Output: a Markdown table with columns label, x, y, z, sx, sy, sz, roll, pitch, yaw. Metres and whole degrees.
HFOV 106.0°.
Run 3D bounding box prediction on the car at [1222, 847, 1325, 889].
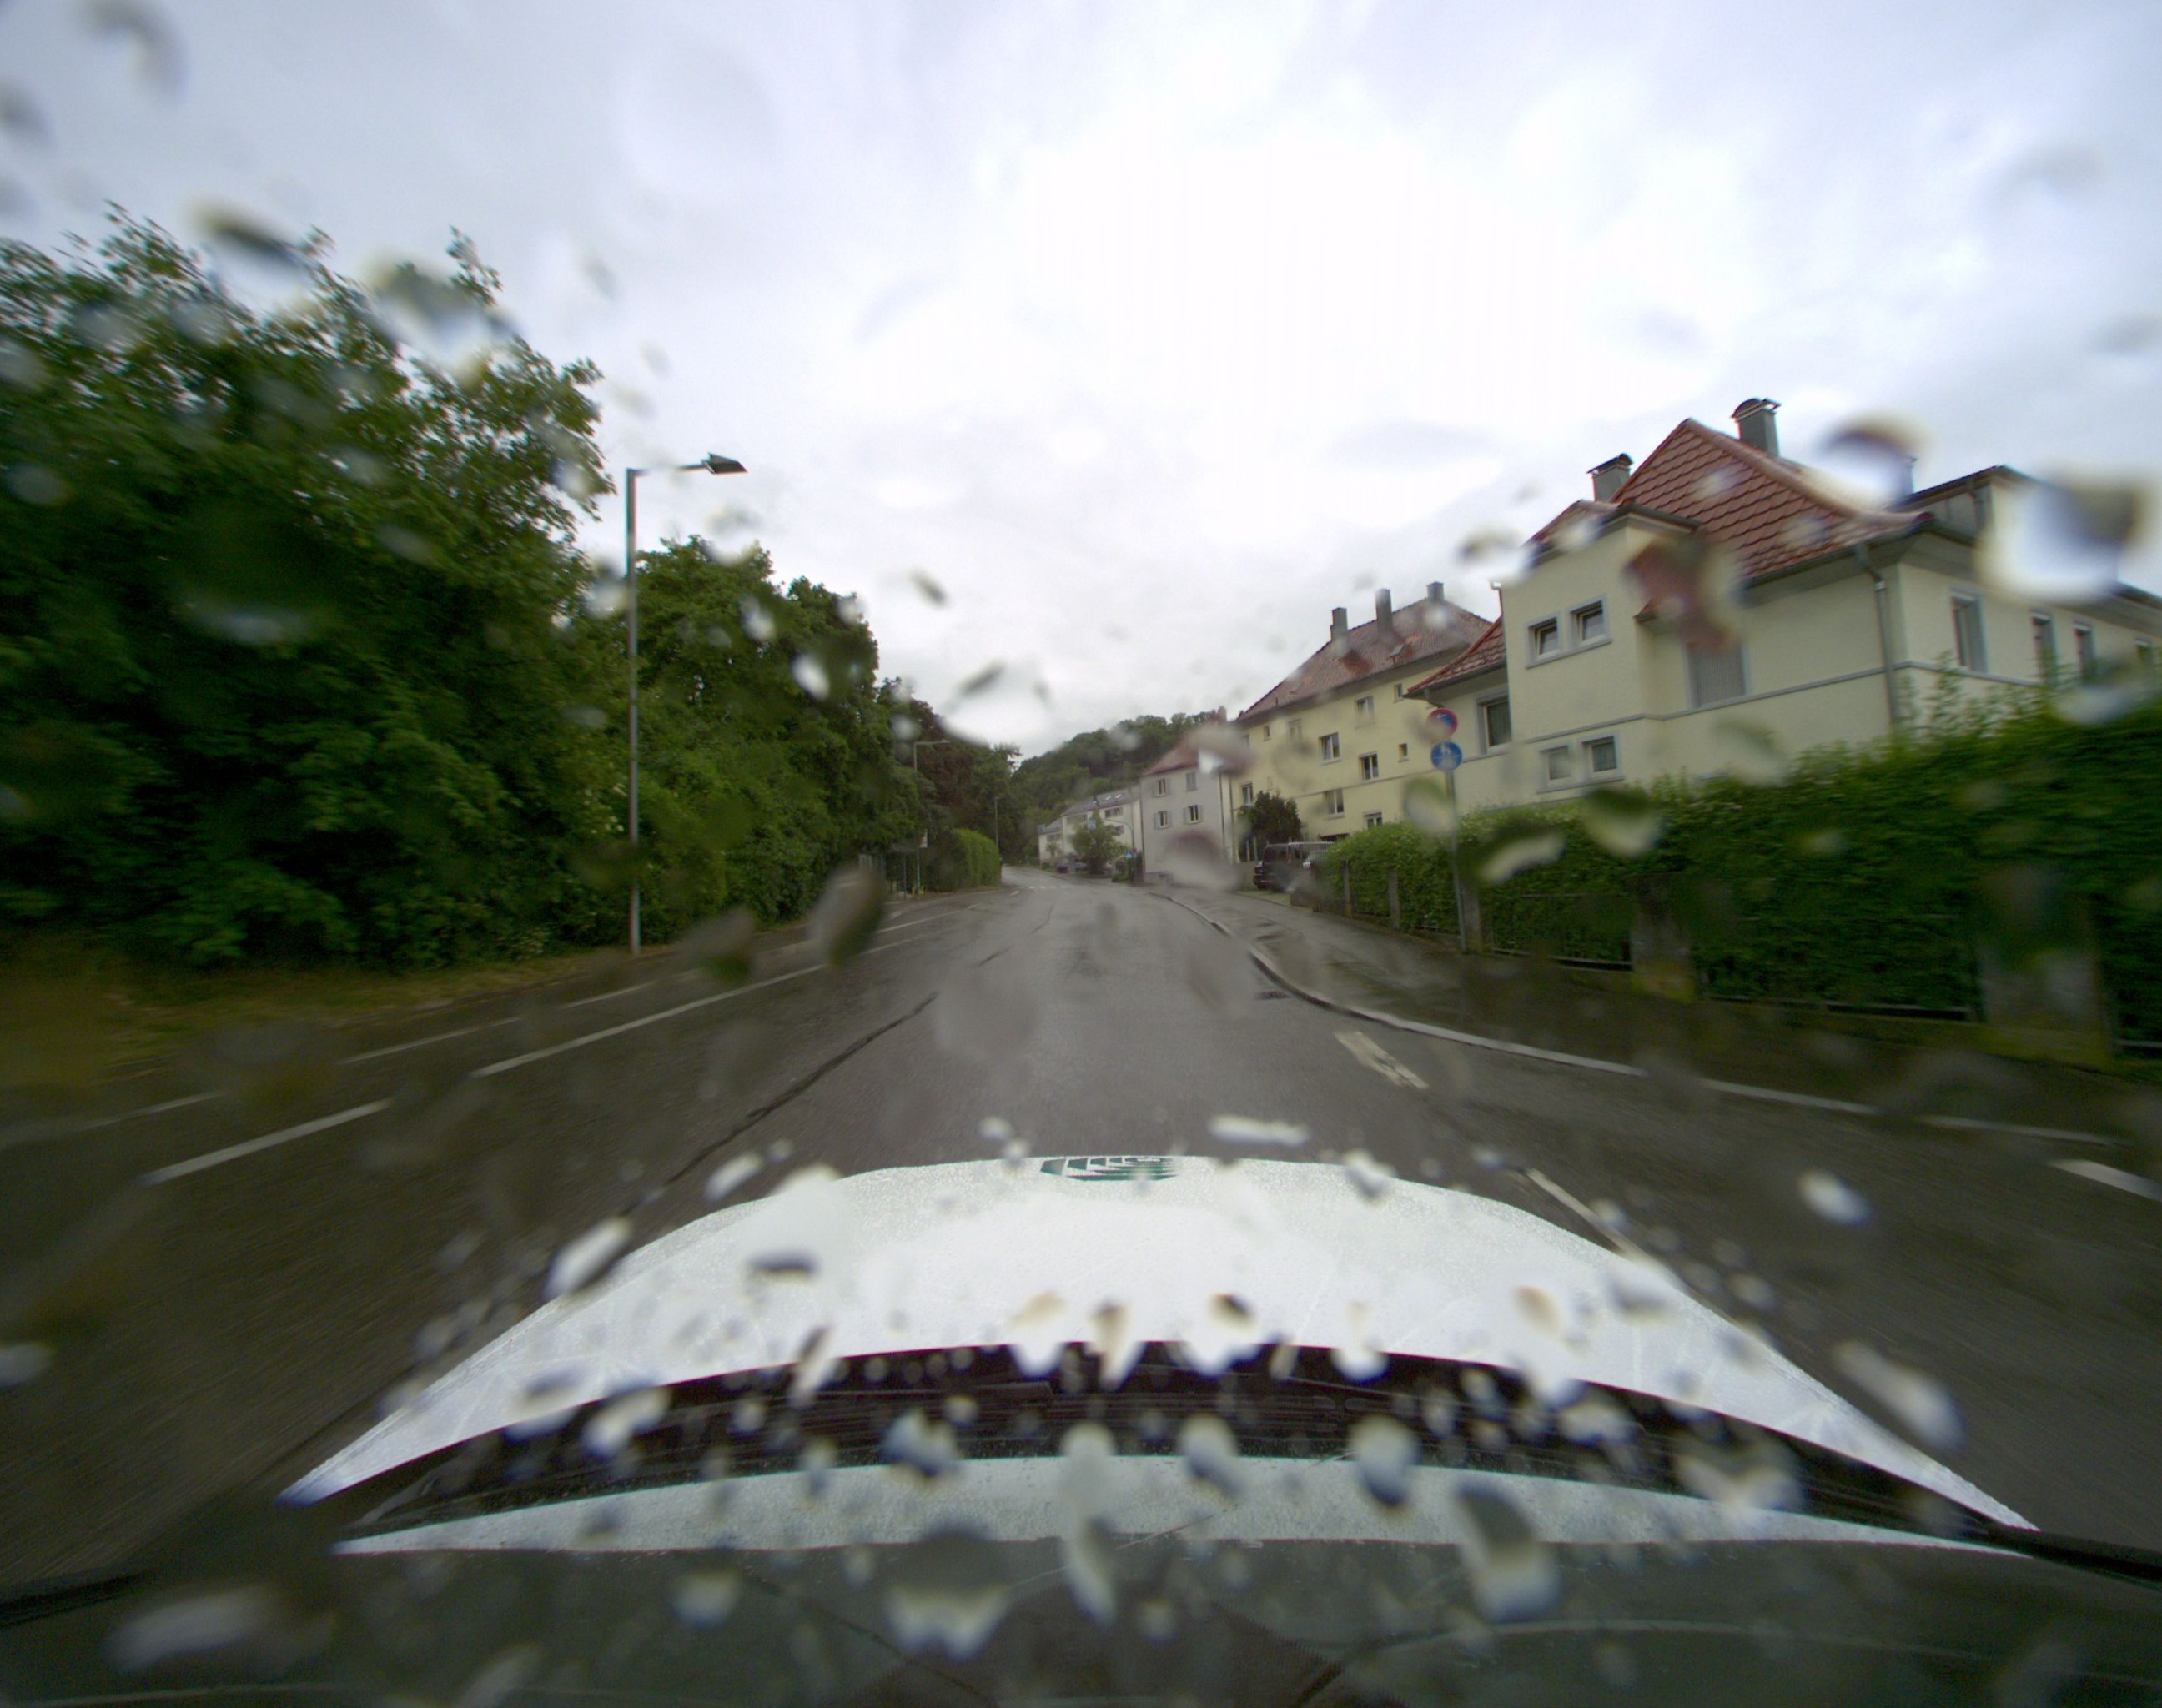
| label | x | y | z | sx | sy | sz | roll | pitch | yaw |
| --- | --- | --- | --- | --- | --- | --- | --- | --- | --- |
| car | 8.437 | 0.639 | 35.825 | 3.997 | 1.772 | 1.988 | 1 | -3 | -18 |

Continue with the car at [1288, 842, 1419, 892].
| label | x | y | z | sx | sy | sz | roll | pitch | yaw |
| --- | --- | --- | --- | --- | --- | --- | --- | --- | --- |
| car | 9.583 | 0.504 | 28.722 | 3.997 | 1.684 | 1.988 | 1 | -3 | -18 |

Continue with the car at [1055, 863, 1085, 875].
| label | x | y | z | sx | sy | sz | roll | pitch | yaw |
| --- | --- | --- | --- | --- | --- | --- | --- | --- | --- |
| car | -1.600 | 2.179 | 117.688 | 3.986 | 1.772 | 1.993 | 0 | -3 | -9 |

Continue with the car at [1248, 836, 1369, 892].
| label | x | y | z | sx | sy | sz | roll | pitch | yaw |
| --- | --- | --- | --- | --- | --- | --- | --- | --- | --- |
| car | 8.619 | 0.434 | 30.891 | 3.997 | 2.014 | 1.988 | 1 | -3 | -18 |

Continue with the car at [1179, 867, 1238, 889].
| label | x | y | z | sx | sy | sz | roll | pitch | yaw |
| --- | --- | --- | --- | --- | --- | --- | --- | --- | --- |
| car | 9.649 | 1.856 | 61.824 | 3.997 | 1.618 | 1.988 | 1 | -3 | -18 |

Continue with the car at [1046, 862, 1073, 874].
| label | x | y | z | sx | sy | sz | roll | pitch | yaw |
| --- | --- | --- | --- | --- | --- | --- | --- | --- | --- |
| car | -3.303 | 2.129 | 124.623 | 3.986 | 1.772 | 1.993 | 0 | -3 | -9 |
